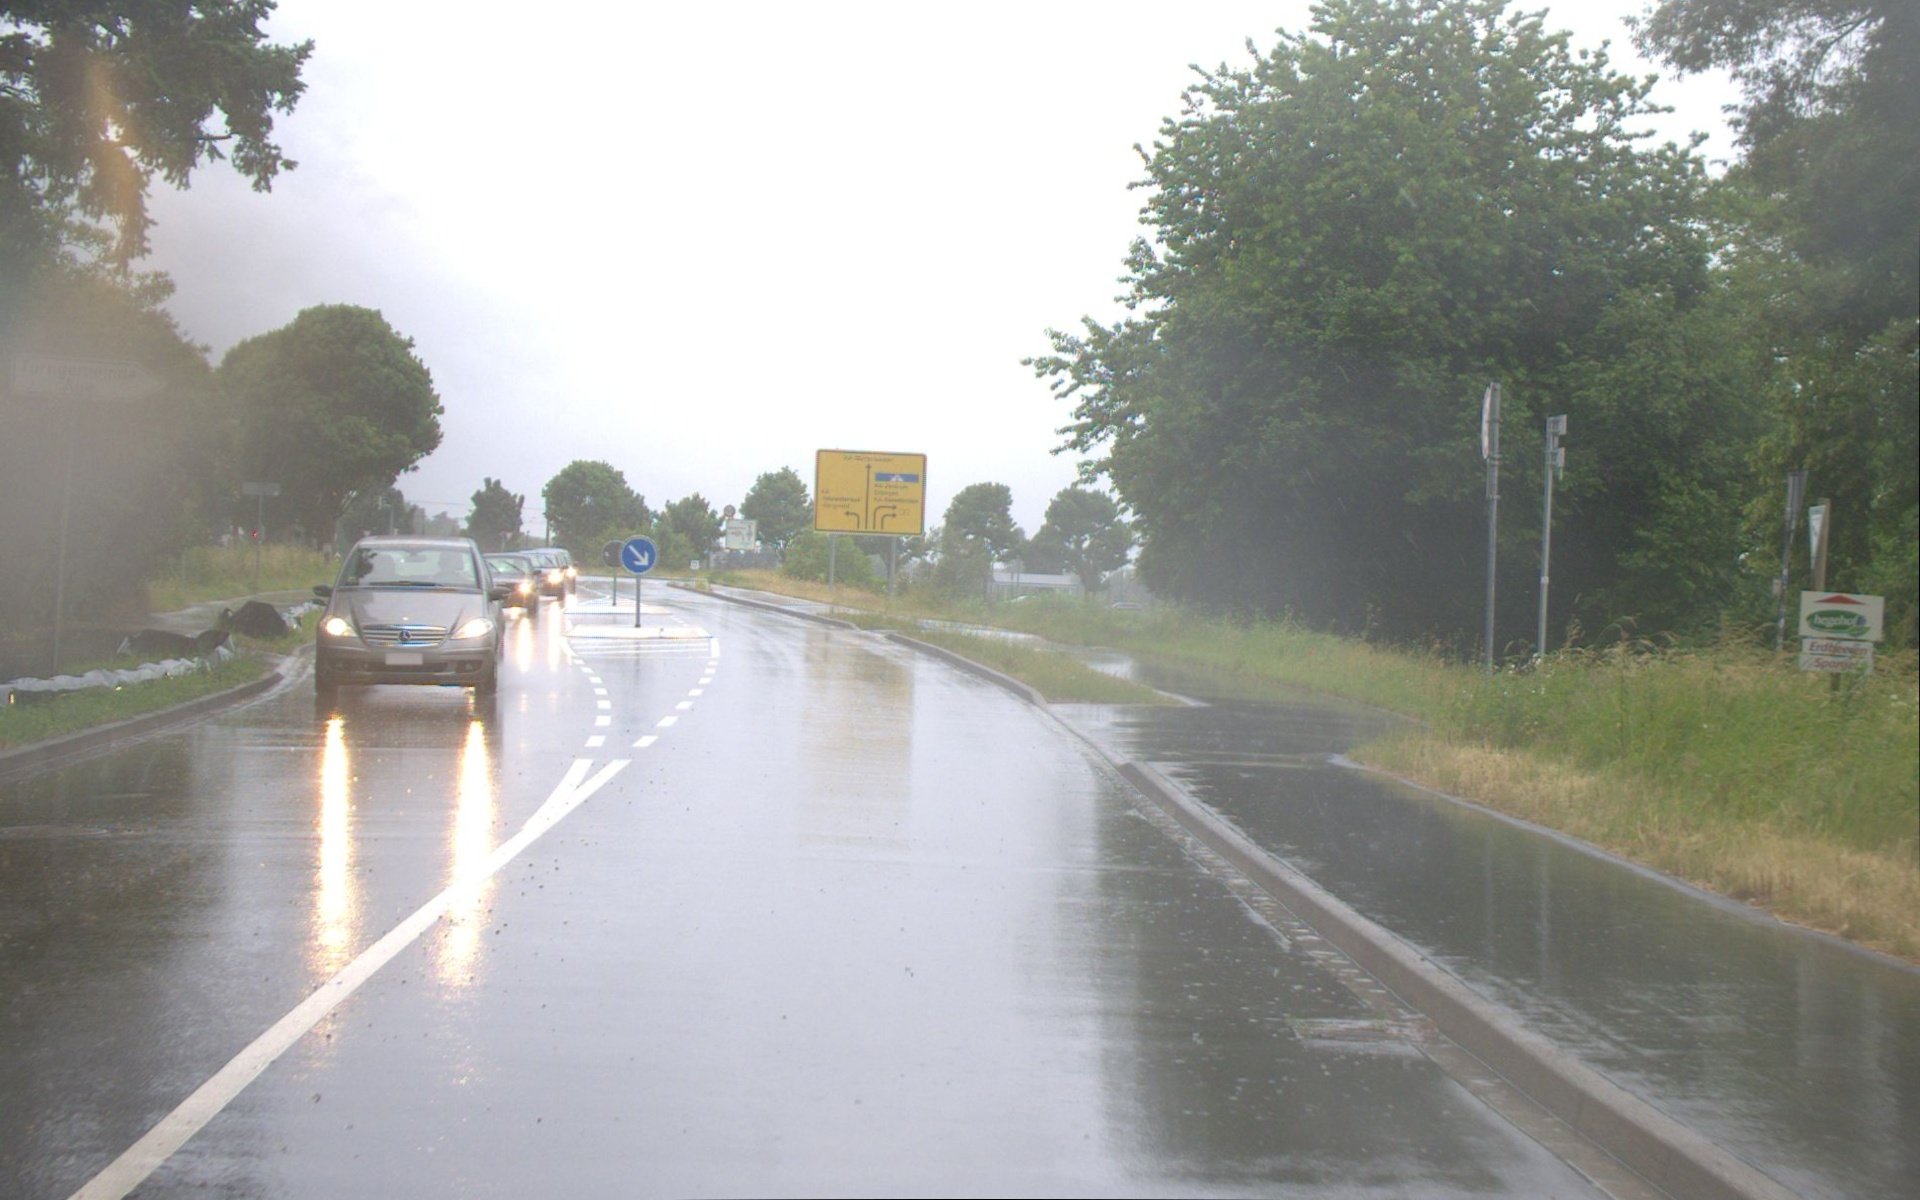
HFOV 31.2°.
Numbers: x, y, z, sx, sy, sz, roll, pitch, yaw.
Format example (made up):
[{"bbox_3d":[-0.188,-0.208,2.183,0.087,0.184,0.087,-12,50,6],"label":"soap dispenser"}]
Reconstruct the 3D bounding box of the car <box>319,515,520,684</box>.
[{"bbox_3d":[-5.455,-0.053,35.082,1.760,1.547,4.001,0,2,-5],"label":"car"}]

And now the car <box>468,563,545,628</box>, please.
[{"bbox_3d":[-10.343,-0.122,78.296,1.682,1.378,4.226,0,1,-8],"label":"car"}]

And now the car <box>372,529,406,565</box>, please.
[{"bbox_3d":[-35.270,-3.293,212.592,1.993,1.965,4.959,2,2,-9],"label":"car"}]
